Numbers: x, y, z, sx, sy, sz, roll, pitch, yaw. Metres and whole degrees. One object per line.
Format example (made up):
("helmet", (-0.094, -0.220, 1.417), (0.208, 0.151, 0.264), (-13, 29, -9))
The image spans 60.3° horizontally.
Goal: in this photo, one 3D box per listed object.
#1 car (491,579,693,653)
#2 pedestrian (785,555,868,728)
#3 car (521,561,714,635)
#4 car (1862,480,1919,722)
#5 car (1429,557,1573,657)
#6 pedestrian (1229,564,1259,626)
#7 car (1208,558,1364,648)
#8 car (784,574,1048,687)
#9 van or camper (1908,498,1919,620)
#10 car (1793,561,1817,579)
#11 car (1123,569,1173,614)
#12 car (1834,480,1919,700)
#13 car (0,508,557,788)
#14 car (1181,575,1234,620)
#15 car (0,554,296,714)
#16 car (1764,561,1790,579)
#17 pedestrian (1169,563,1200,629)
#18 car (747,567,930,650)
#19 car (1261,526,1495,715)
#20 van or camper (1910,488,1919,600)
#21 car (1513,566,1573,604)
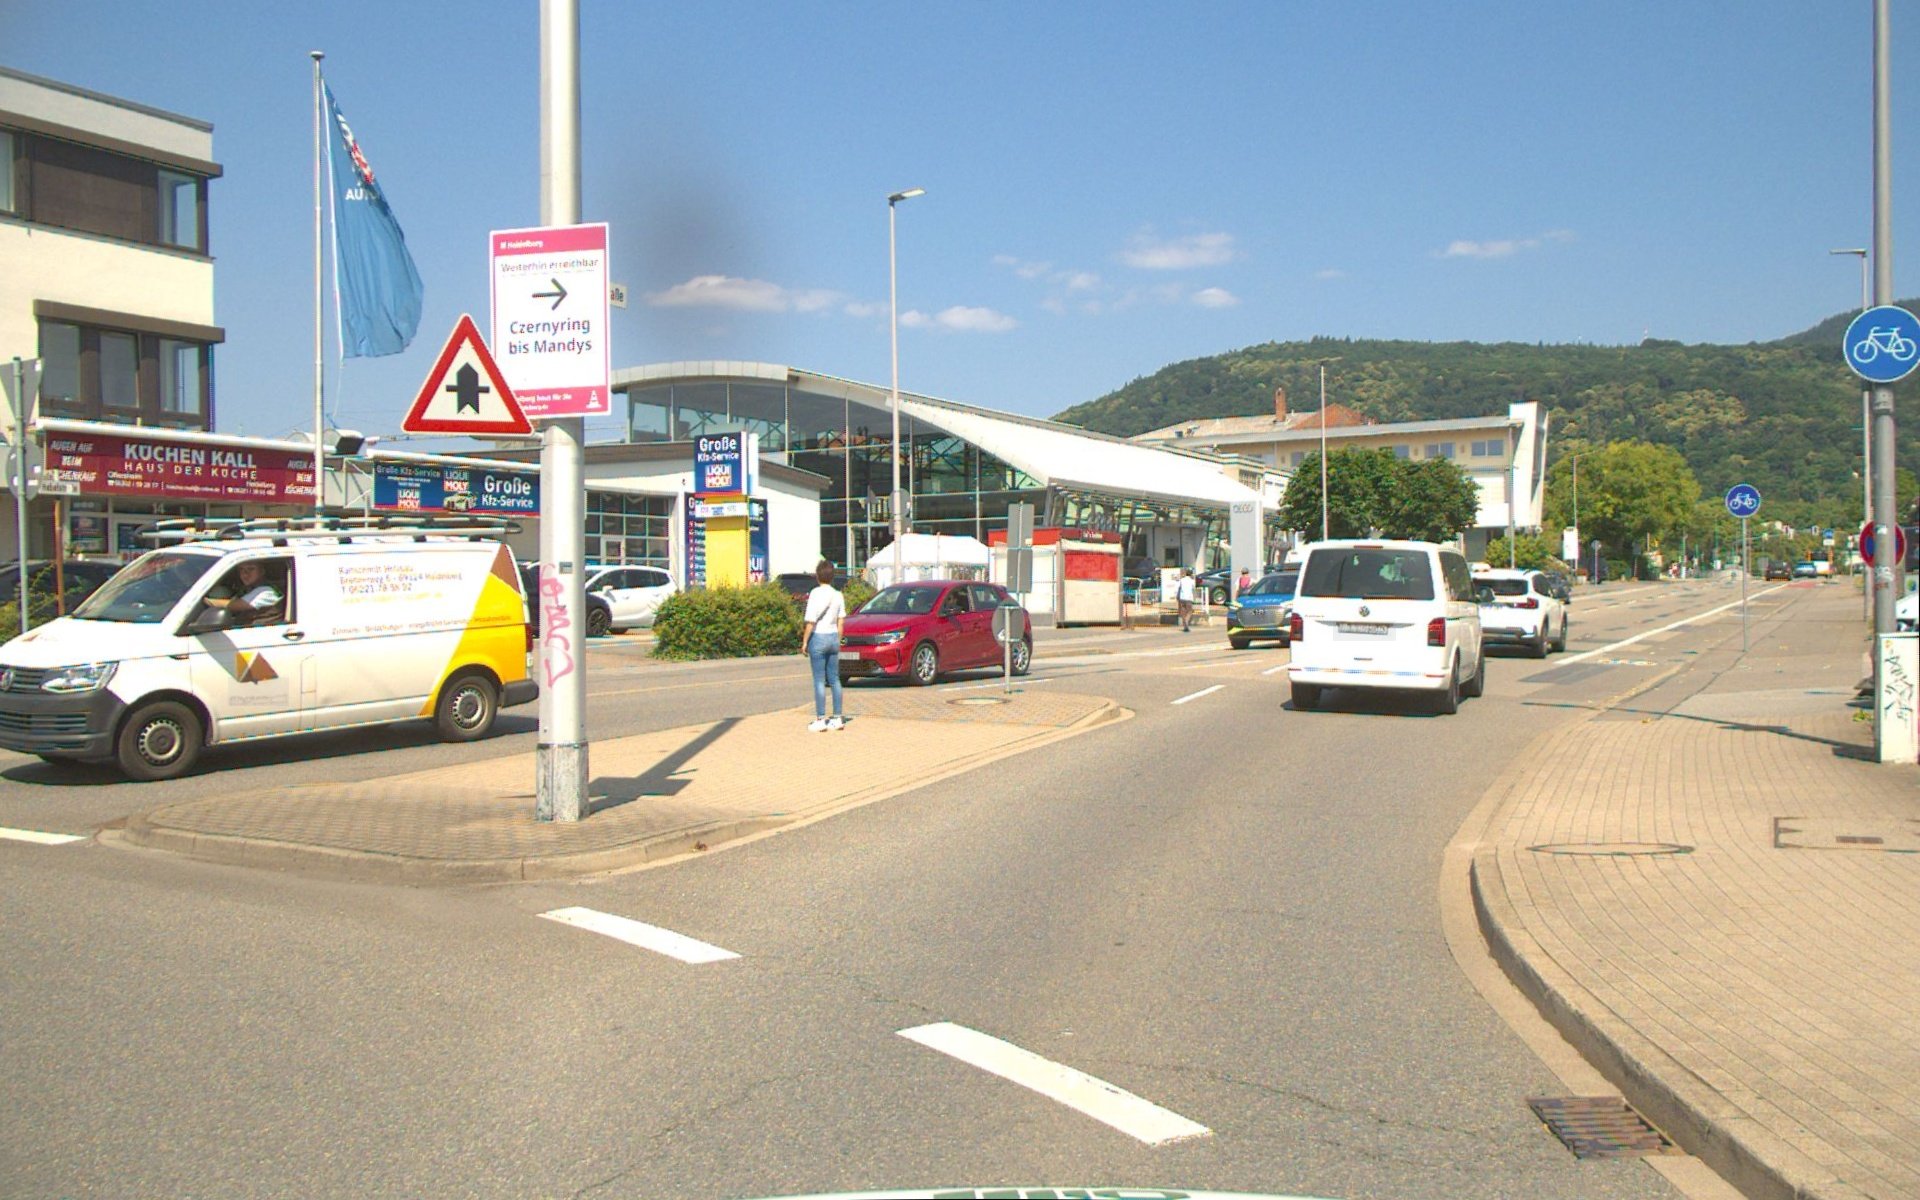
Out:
("car", (-7.970, 0.316, 36.211), (1.987, 1.451, 4.312), (-1, 1, 28))
("pedestrian", (-1.347, 0.404, 16.601), (0.746, 1.685, 0.671), (-1, 0, -12))
("car", (-8.228, -0.068, 40.244), (1.844, 1.616, 4.921), (-3, -1, 28))
("car", (10.635, -0.079, 13.901), (5.029, 2.049, 1.930), (-2, 0, -1))
("car", (10.535, 0.066, 32.033), (1.956, 1.737, 3.995), (2, 2, 28))
("pedestrian", (8.499, -0.163, 49.416), (0.743, 1.819, 0.928), (-1, 0, 18))
("car", (7.098, 0.028, 35.662), (1.874, 1.791, 4.442), (-1, 1, 31))
("car", (-0.542, 0.396, 24.021), (1.808, 1.489, 4.132), (-1, 0, 33))
("van or camper", (23.938, -0.932, 35.173), (6.484, 2.606, 3.744), (-1, 1, 31))
("car", (81.722, -2.906, 159.862), (1.955, 1.713, 3.994), (-1, 1, 28))
("car", (7.072, -0.313, 62.041), (1.708, 1.612, 3.665), (-1, 1, 9))
("car", (11.830, -0.131, 16.575), (5.036, 2.131, 2.049), (-1, -1, -1))
("car", (-6.324, 0.296, 15.286), (1.988, 2.151, 4.914), (0, 2, 37))
("car", (9.325, -0.105, 62.519), (1.708, 1.612, 3.664), (-1, 1, 5))
("car", (-11.999, 0.406, 22.632), (1.924, 2.000, 5.267), (-1, 1, 32))
("car", (64.512, -2.350, 130.632), (1.686, 1.326, 3.994), (-1, 1, 28))
("pedestrian", (6.266, -0.103, 46.126), (0.743, 1.819, 0.785), (-1, 0, 13))
("car", (-2.563, 0.147, 35.798), (1.957, 1.646, 3.990), (-1, 1, 32))
("car", (5.373, 0.196, 20.738), (2.118, 2.049, 5.017), (0, 1, 23))
("van or camper", (25.815, -1.365, 38.382), (6.484, 2.606, 3.393), (-1, 1, 31))
("car", (24.215, -0.641, 68.631), (1.806, 1.489, 3.995), (-1, 1, 27))
